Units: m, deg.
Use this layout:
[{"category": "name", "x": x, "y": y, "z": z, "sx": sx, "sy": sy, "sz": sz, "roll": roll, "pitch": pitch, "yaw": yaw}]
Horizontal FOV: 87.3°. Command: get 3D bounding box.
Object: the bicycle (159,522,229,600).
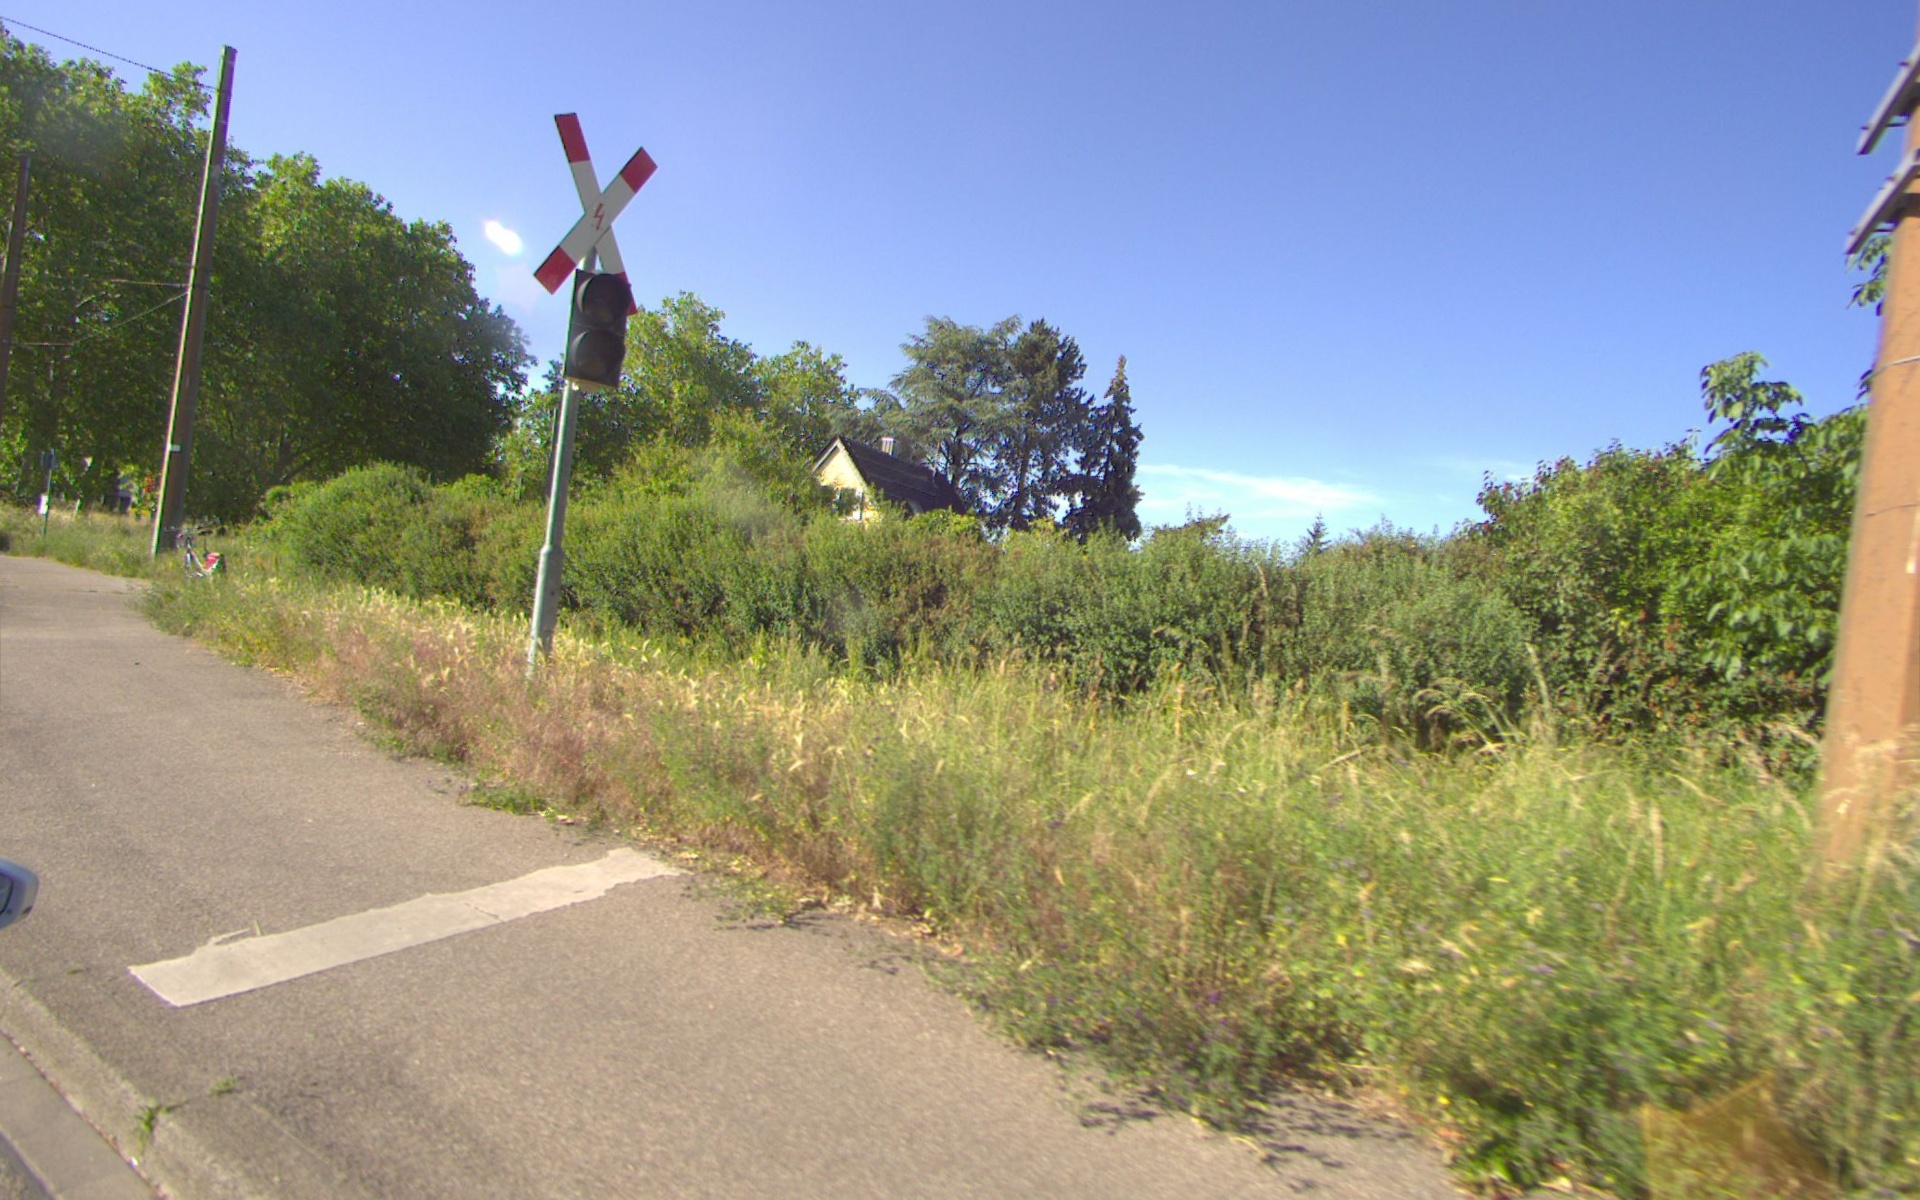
[{"category": "bicycle", "x": -13.013, "y": -0.679, "z": 17.067, "sx": 2.064, "sy": 1.149, "sz": 0.365, "roll": 7, "pitch": 0, "yaw": 39}]
